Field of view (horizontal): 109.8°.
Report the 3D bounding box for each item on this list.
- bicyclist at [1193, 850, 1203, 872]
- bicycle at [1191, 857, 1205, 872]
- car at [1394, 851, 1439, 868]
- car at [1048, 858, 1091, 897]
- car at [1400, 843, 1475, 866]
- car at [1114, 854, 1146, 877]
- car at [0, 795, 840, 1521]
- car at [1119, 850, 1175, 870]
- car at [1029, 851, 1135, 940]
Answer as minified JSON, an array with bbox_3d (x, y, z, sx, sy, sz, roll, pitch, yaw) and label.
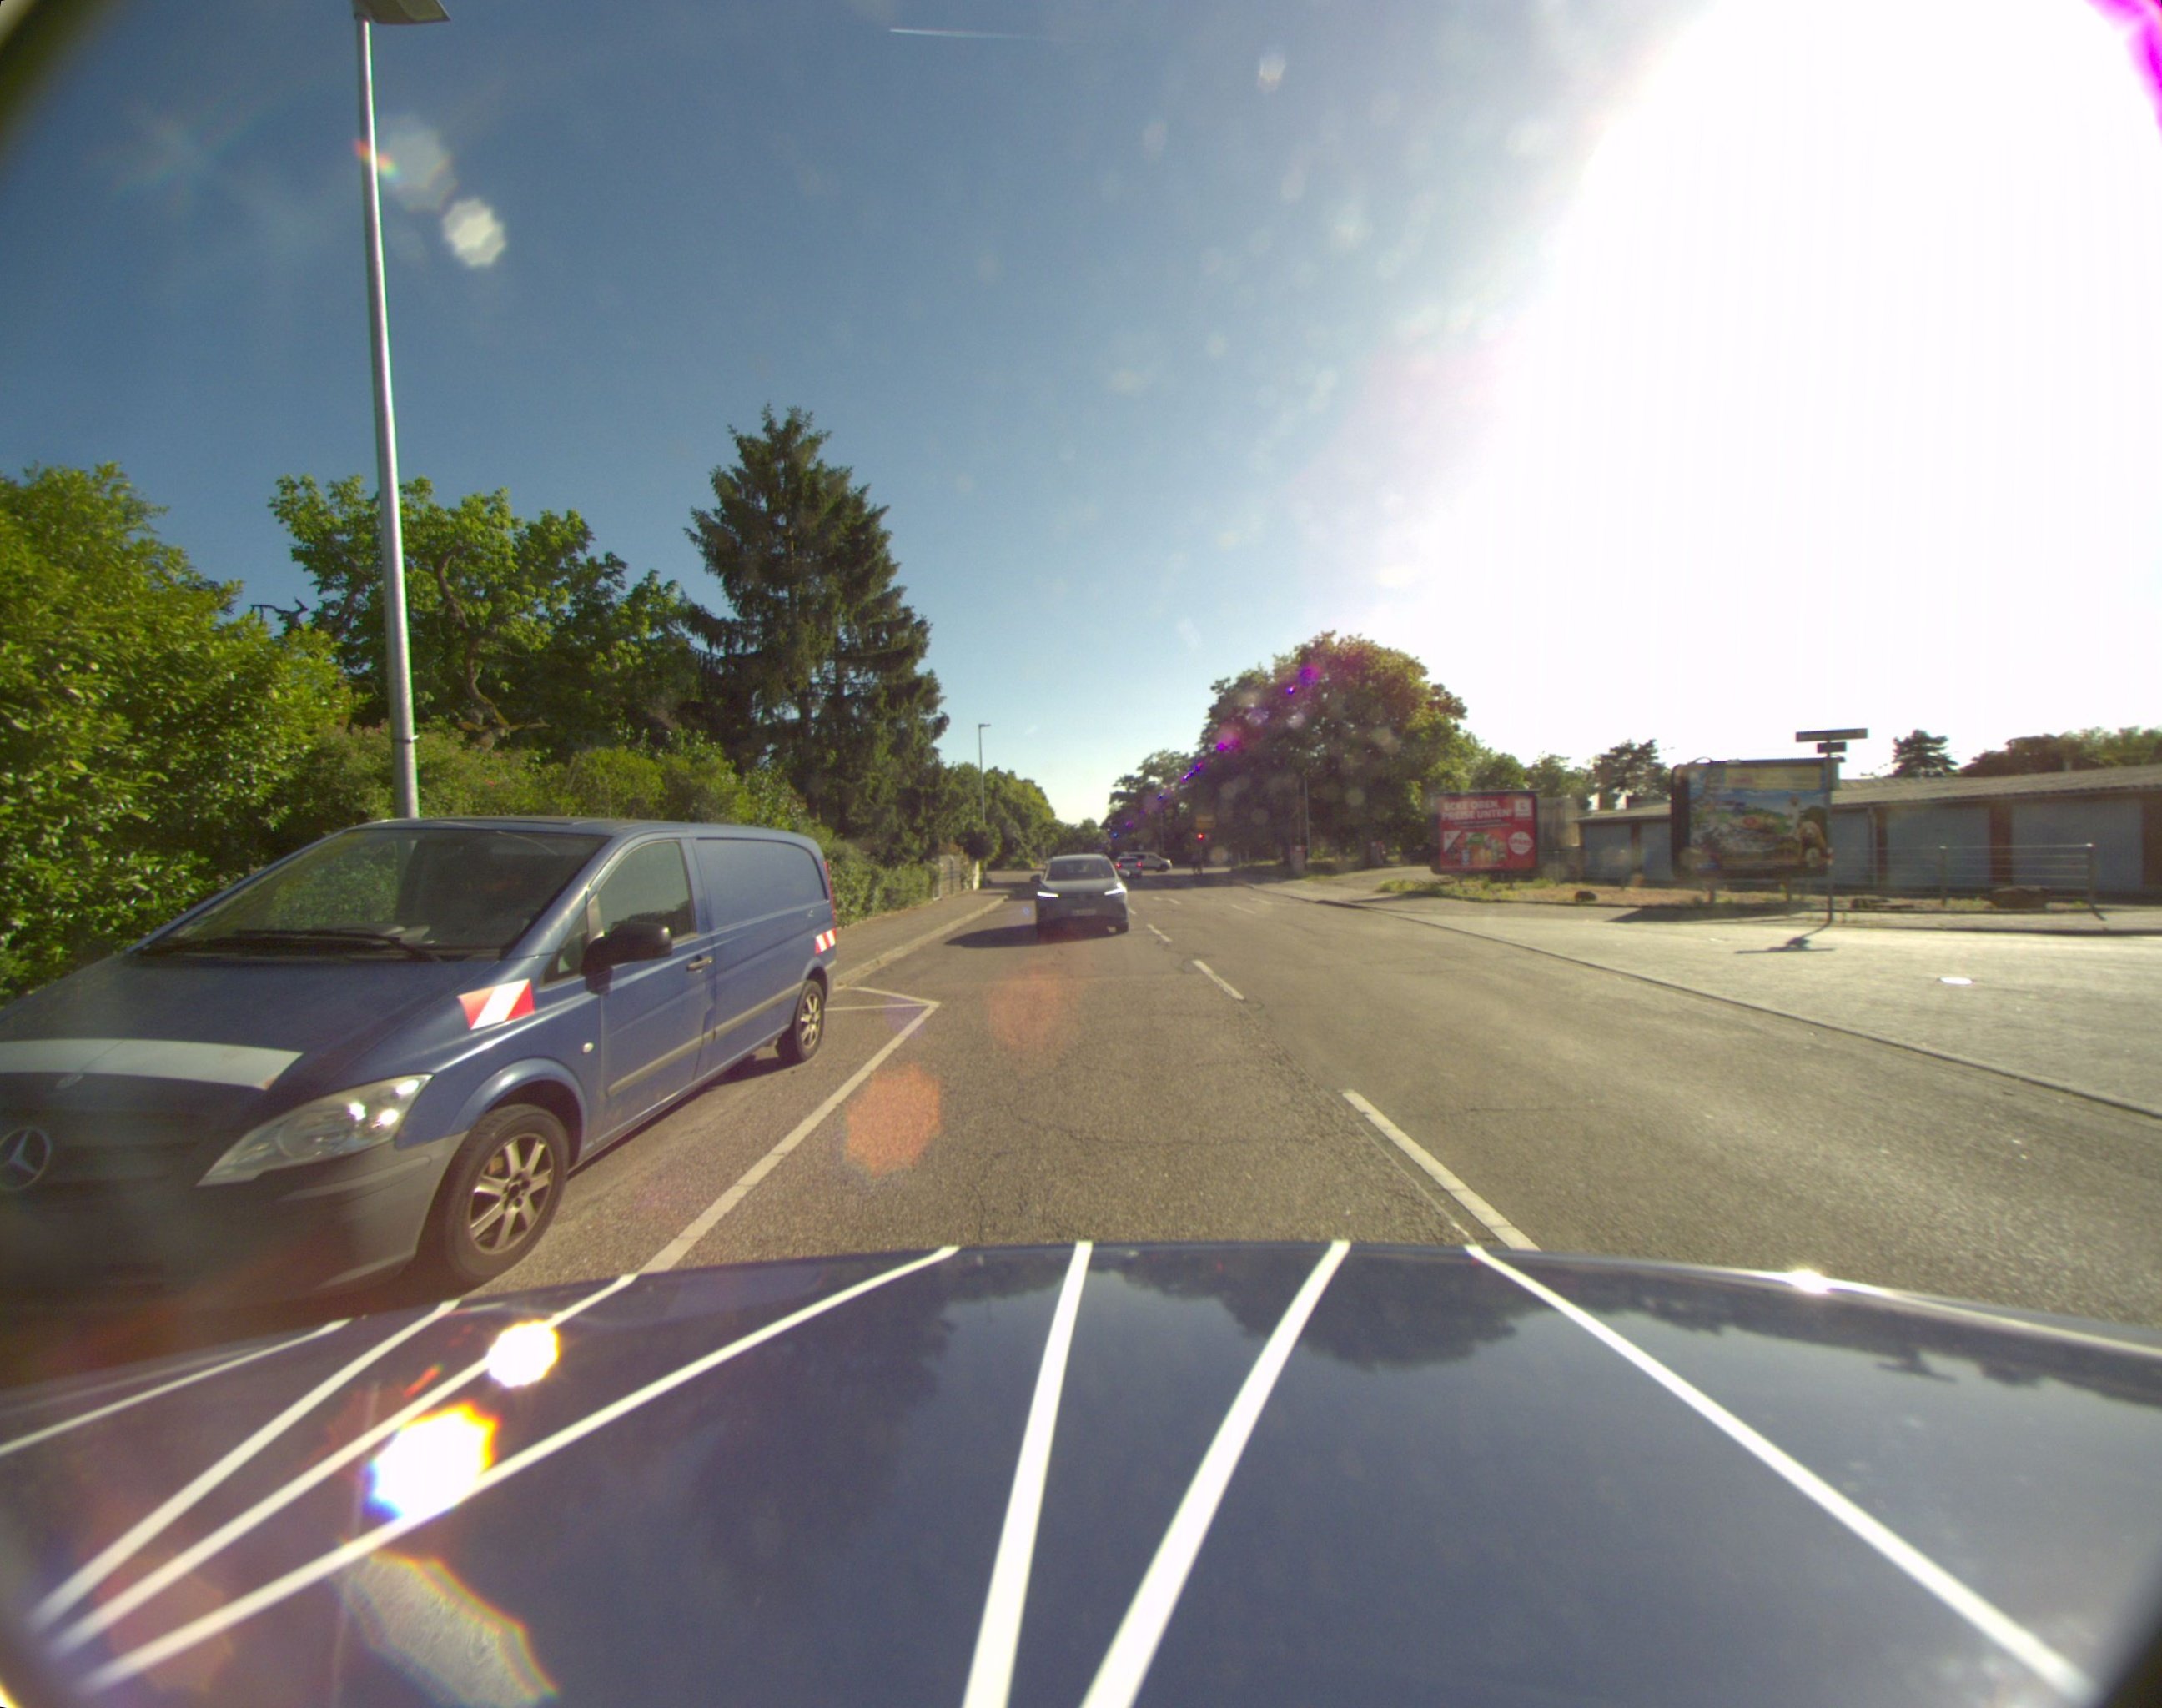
[{"bbox_3d":[8.710,0.513,56.607,0.542,1.632,0.829,0,0,-6],"label":"bicyclist"},{"bbox_3d":[8.709,0.777,56.449,0.529,1.135,2.025,0,0,-5],"label":"bicycle"},{"bbox_3d":[33.833,0.530,76.590,3.913,1.432,1.690,-3,3,-12],"label":"car"},{"bbox_3d":[-0.531,0.969,33.021,1.692,1.564,4.120,-2,0,-2],"label":"car"},{"bbox_3d":[22.910,0.003,48.897,1.763,1.368,3.988,-1,2,-35],"label":"car"},{"bbox_3d":[3.298,0.756,52.045,1.841,1.480,4.889,1,0,0],"label":"car"},{"bbox_3d":[-3.099,0.810,4.338,1.841,1.896,4.698,-1,0,1],"label":"car"},{"bbox_3d":[6.073,0.555,70.086,4.867,1.830,1.862,0,0,-11],"label":"car"},{"bbox_3d":[0.095,0.785,16.614,1.992,1.631,4.365,-1,0,2],"label":"car"}]
